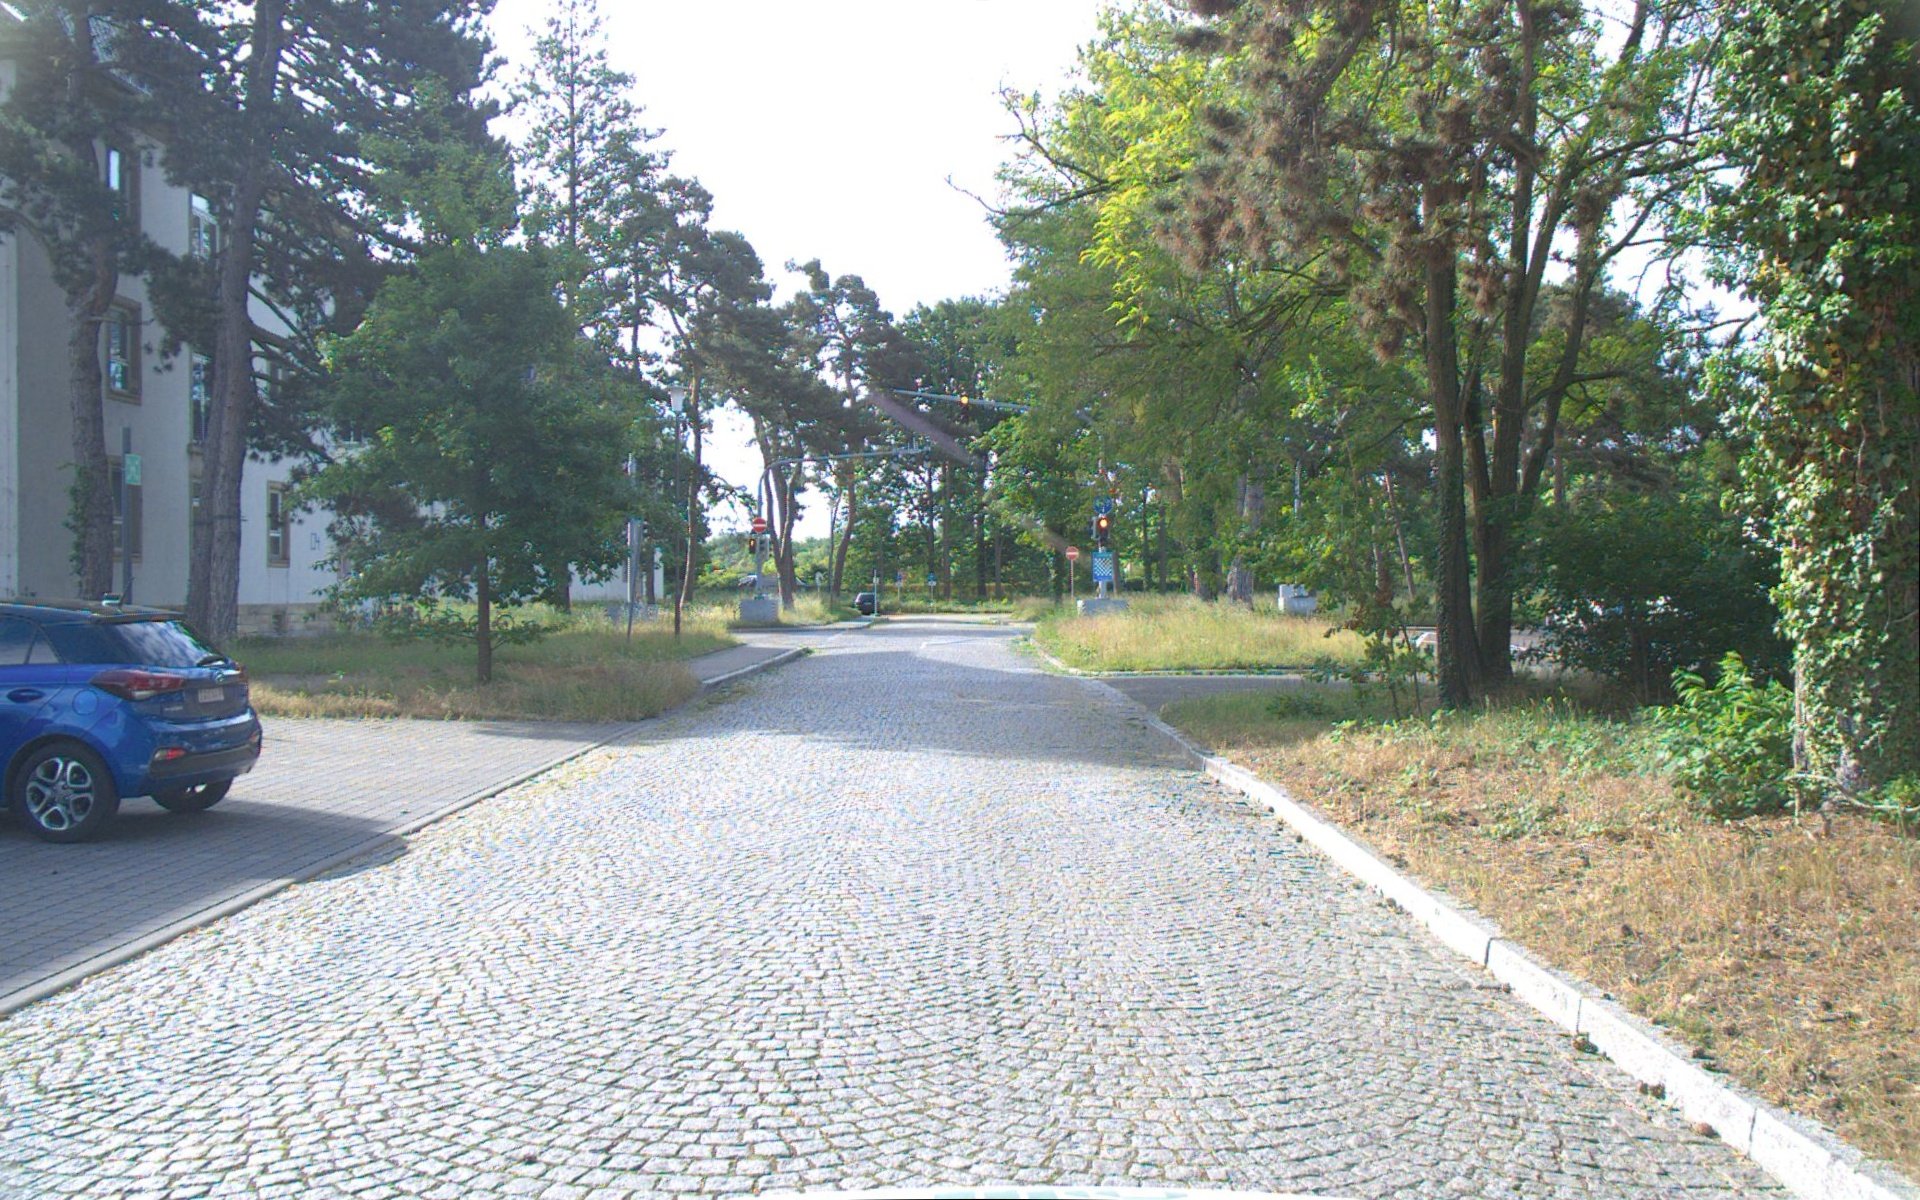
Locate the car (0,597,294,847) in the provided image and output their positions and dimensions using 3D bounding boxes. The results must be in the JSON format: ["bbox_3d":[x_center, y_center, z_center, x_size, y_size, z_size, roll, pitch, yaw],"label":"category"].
[{"bbox_3d":[-6.720,0.734,11.104,3.756,1.489,1.720,1,0,1],"label":"car"}]

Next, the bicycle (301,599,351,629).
[{"bbox_3d":[-23.273,0.510,60.764,0.882,1.065,2.553,-1,0,-1],"label":"bicycle"}]

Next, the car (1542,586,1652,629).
[{"bbox_3d":[20.676,0.206,53.874,1.697,1.335,4.329,0,1,-4],"label":"car"}]

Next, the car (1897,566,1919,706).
[{"bbox_3d":[11.180,0.388,16.123,1.634,1.493,3.997,-1,0,-4],"label":"car"}]

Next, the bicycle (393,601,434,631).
[{"bbox_3d":[-20.087,0.564,60.809,0.809,1.065,2.124,-1,0,-1],"label":"bicycle"}]

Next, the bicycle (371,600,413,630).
[{"bbox_3d":[-20.854,0.551,60.756,0.809,1.065,2.124,-1,0,-1],"label":"bicycle"}]

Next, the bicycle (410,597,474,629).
[{"bbox_3d":[-18.650,0.462,59.577,2.075,1.128,0.828,-1,0,-4],"label":"bicycle"}]

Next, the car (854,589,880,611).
[{"bbox_3d":[-6.567,-0.022,117.294,1.808,1.512,3.998,0,0,-3],"label":"car"}]

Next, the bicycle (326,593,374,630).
[{"bbox_3d":[-22.389,0.407,60.775,0.809,1.303,2.553,0,0,-1],"label":"bicycle"}]

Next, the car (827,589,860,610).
[{"bbox_3d":[-8.569,-0.059,122.012,1.745,1.516,3.758,0,0,7],"label":"car"}]

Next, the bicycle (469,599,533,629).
[{"bbox_3d":[-16.567,0.494,59.699,2.075,1.065,0.828,-1,0,-4],"label":"bicycle"}]

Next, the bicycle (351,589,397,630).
[{"bbox_3d":[-21.633,0.325,61.086,0.809,1.462,2.553,0,0,-1],"label":"bicycle"}]

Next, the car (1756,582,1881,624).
[{"bbox_3d":[28.391,0.084,54.865,1.697,1.335,4.329,-1,0,-4],"label":"car"}]
